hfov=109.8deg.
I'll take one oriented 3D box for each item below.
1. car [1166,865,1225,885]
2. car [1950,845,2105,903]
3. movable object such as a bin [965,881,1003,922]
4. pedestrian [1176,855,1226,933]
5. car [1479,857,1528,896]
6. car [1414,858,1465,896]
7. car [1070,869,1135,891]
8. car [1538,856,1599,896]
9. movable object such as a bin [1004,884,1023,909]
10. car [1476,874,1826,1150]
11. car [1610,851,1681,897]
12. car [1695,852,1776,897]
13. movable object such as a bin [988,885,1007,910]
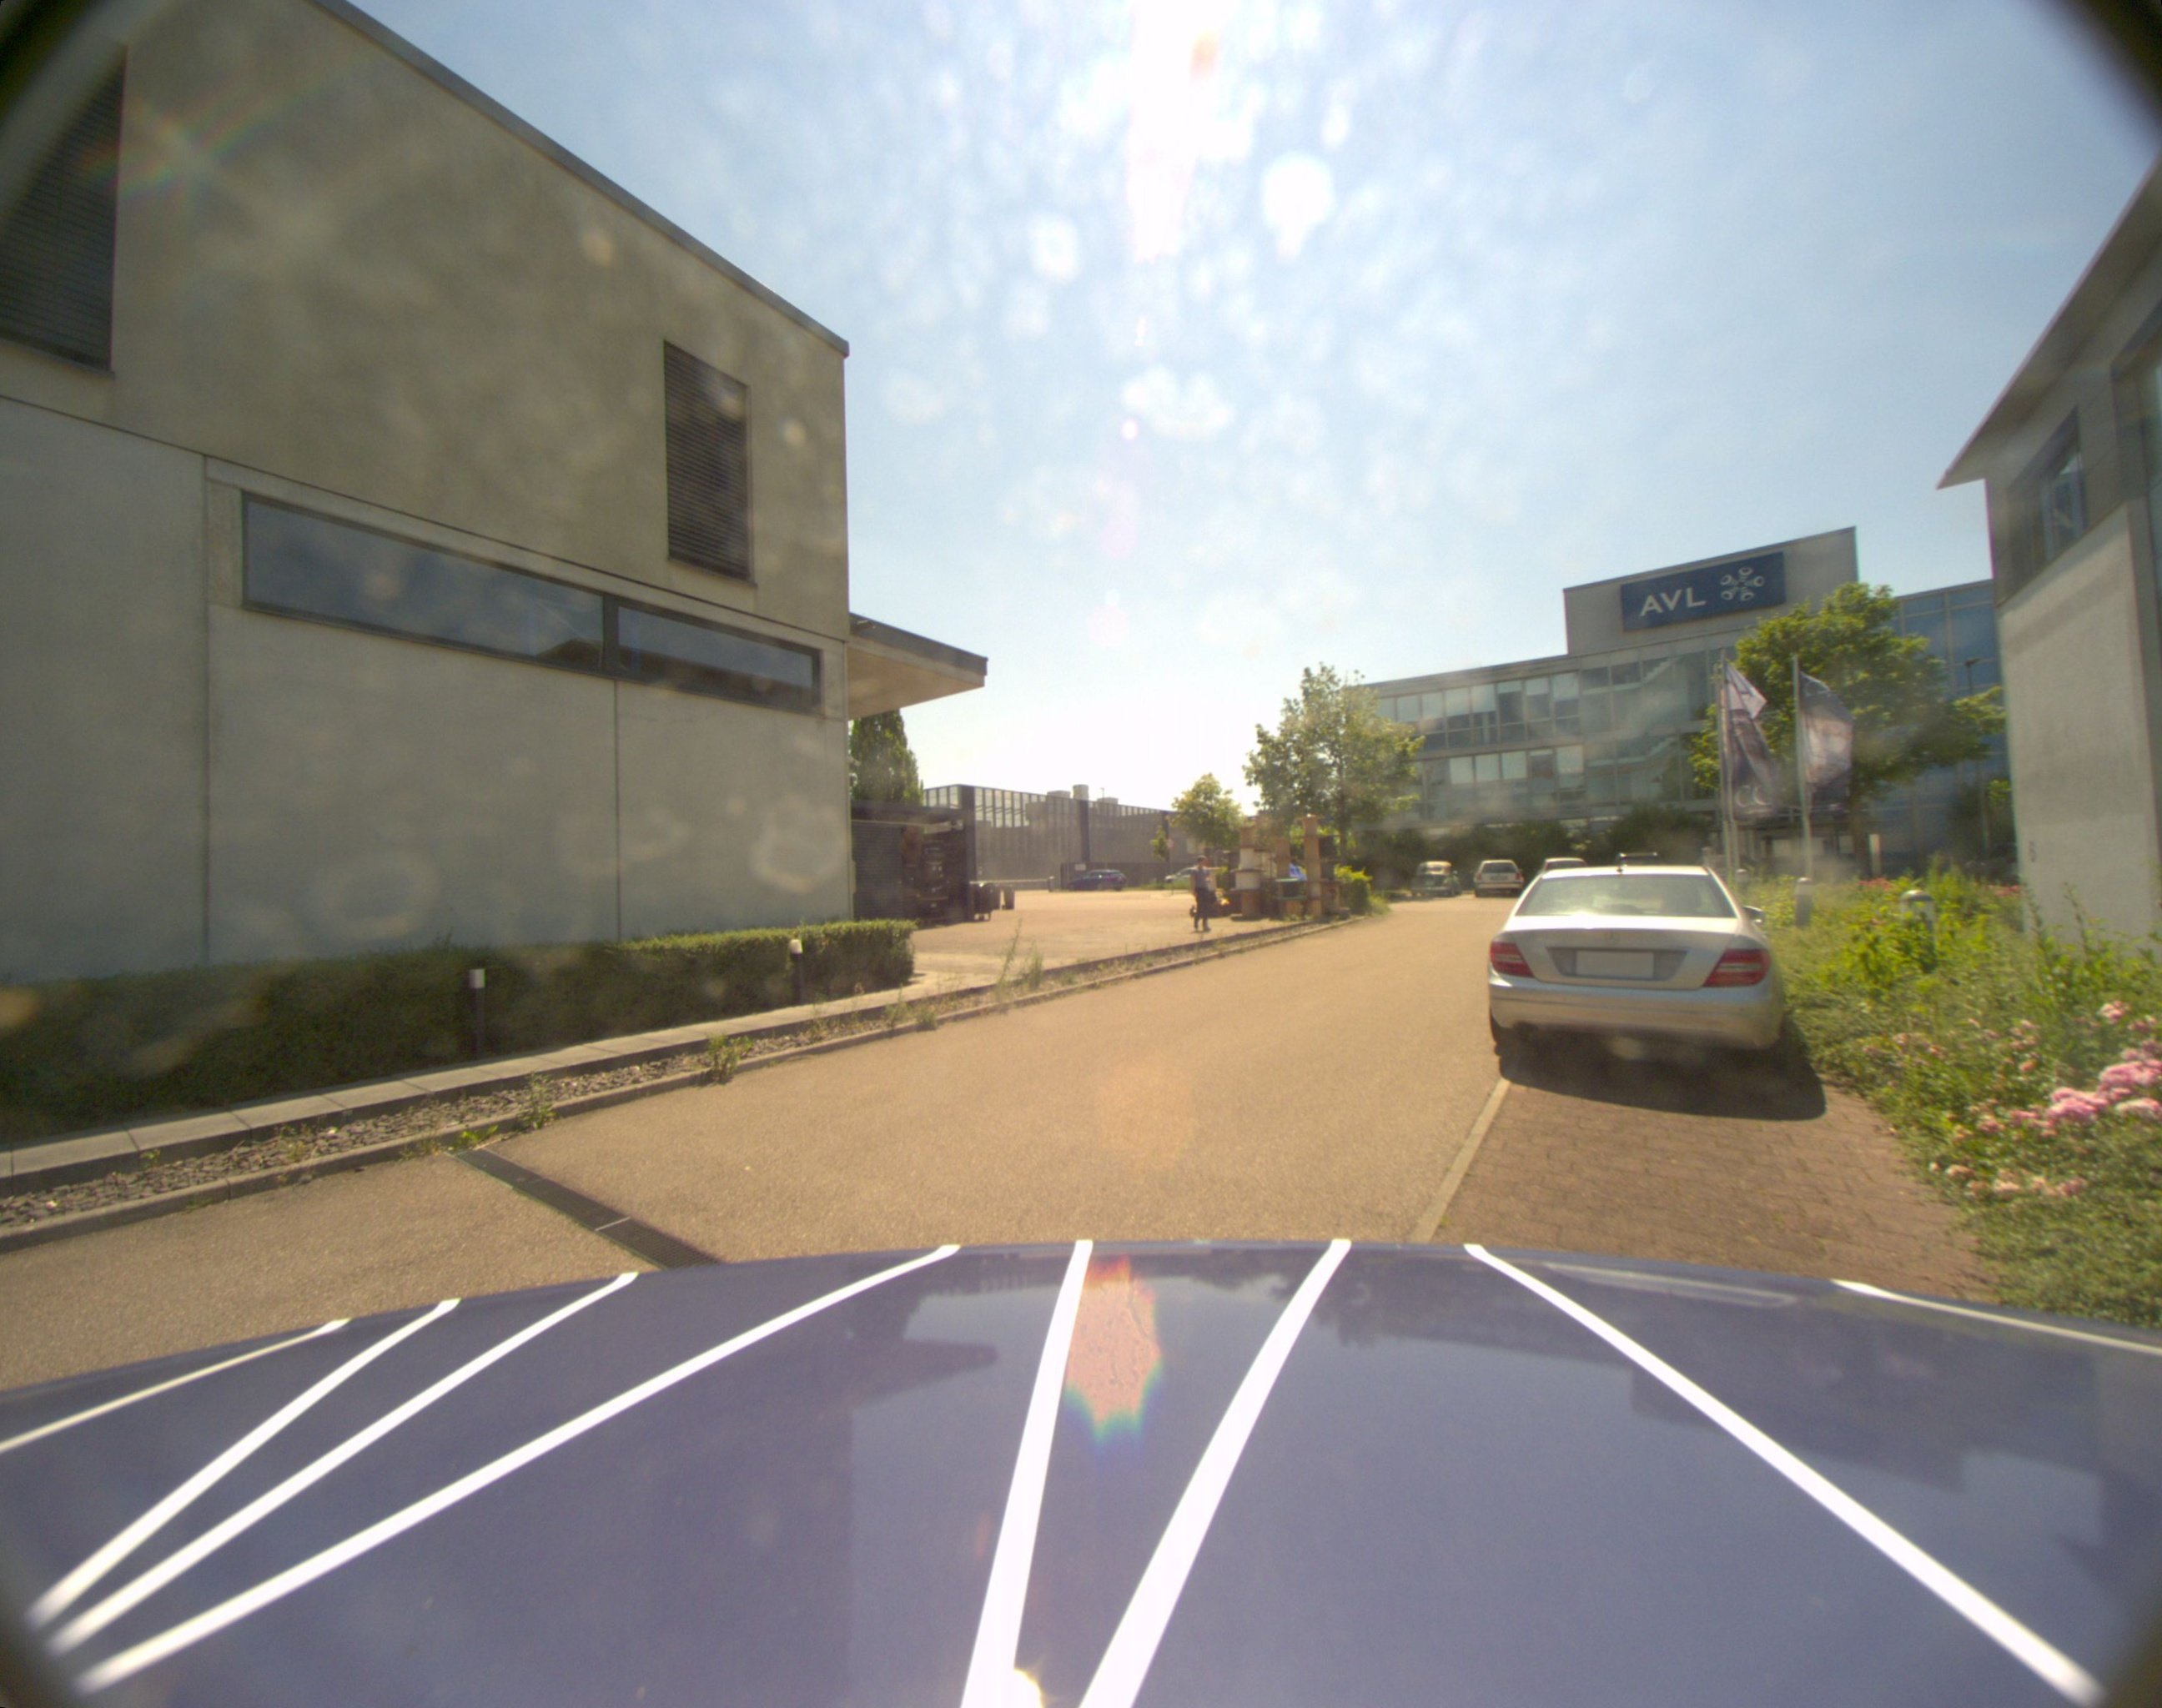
[{"bbox_3d":[8.731,1.620,58.351,1.784,1.467,4.403,-1,-1,-39],"label":"car"},{"bbox_3d":[28.797,0.582,23.304,1.828,1.627,4.180,-2,-1,35],"label":"car"},{"bbox_3d":[-3.119,1.516,24.502,0.874,1.242,0.803,-2,0,43],"label":"movable object such as a bin"},{"bbox_3d":[2.845,0.930,18.015,0.810,1.758,0.767,-2,0,-25],"label":"pedestrian"},{"bbox_3d":[17.118,0.883,30.855,1.639,1.443,3.607,-1,0,28],"label":"car"},{"bbox_3d":[15.137,0.932,32.005,1.519,1.437,3.426,-1,0,32],"label":"car"},{"bbox_3d":[1.423,1.756,51.830,1.863,1.401,4.435,-1,-2,-42],"label":"car"},{"bbox_3d":[19.266,0.831,30.131,1.728,1.443,3.607,-1,0,28],"label":"car"},{"bbox_3d":[-2.601,1.640,29.176,0.584,0.912,0.548,-2,0,11],"label":"movable object such as a bin"},{"bbox_3d":[4.742,0.945,6.410,1.730,1.448,4.156,-2,-1,38],"label":"car"},{"bbox_3d":[21.129,0.715,28.568,1.934,1.593,3.867,-1,0,34],"label":"car"},{"bbox_3d":[23.271,0.694,27.164,1.726,1.475,4.406,-2,-1,35],"label":"car"},{"bbox_3d":[-3.215,1.671,29.290,0.584,0.912,0.548,-2,0,11],"label":"movable object such as a bin"}]
